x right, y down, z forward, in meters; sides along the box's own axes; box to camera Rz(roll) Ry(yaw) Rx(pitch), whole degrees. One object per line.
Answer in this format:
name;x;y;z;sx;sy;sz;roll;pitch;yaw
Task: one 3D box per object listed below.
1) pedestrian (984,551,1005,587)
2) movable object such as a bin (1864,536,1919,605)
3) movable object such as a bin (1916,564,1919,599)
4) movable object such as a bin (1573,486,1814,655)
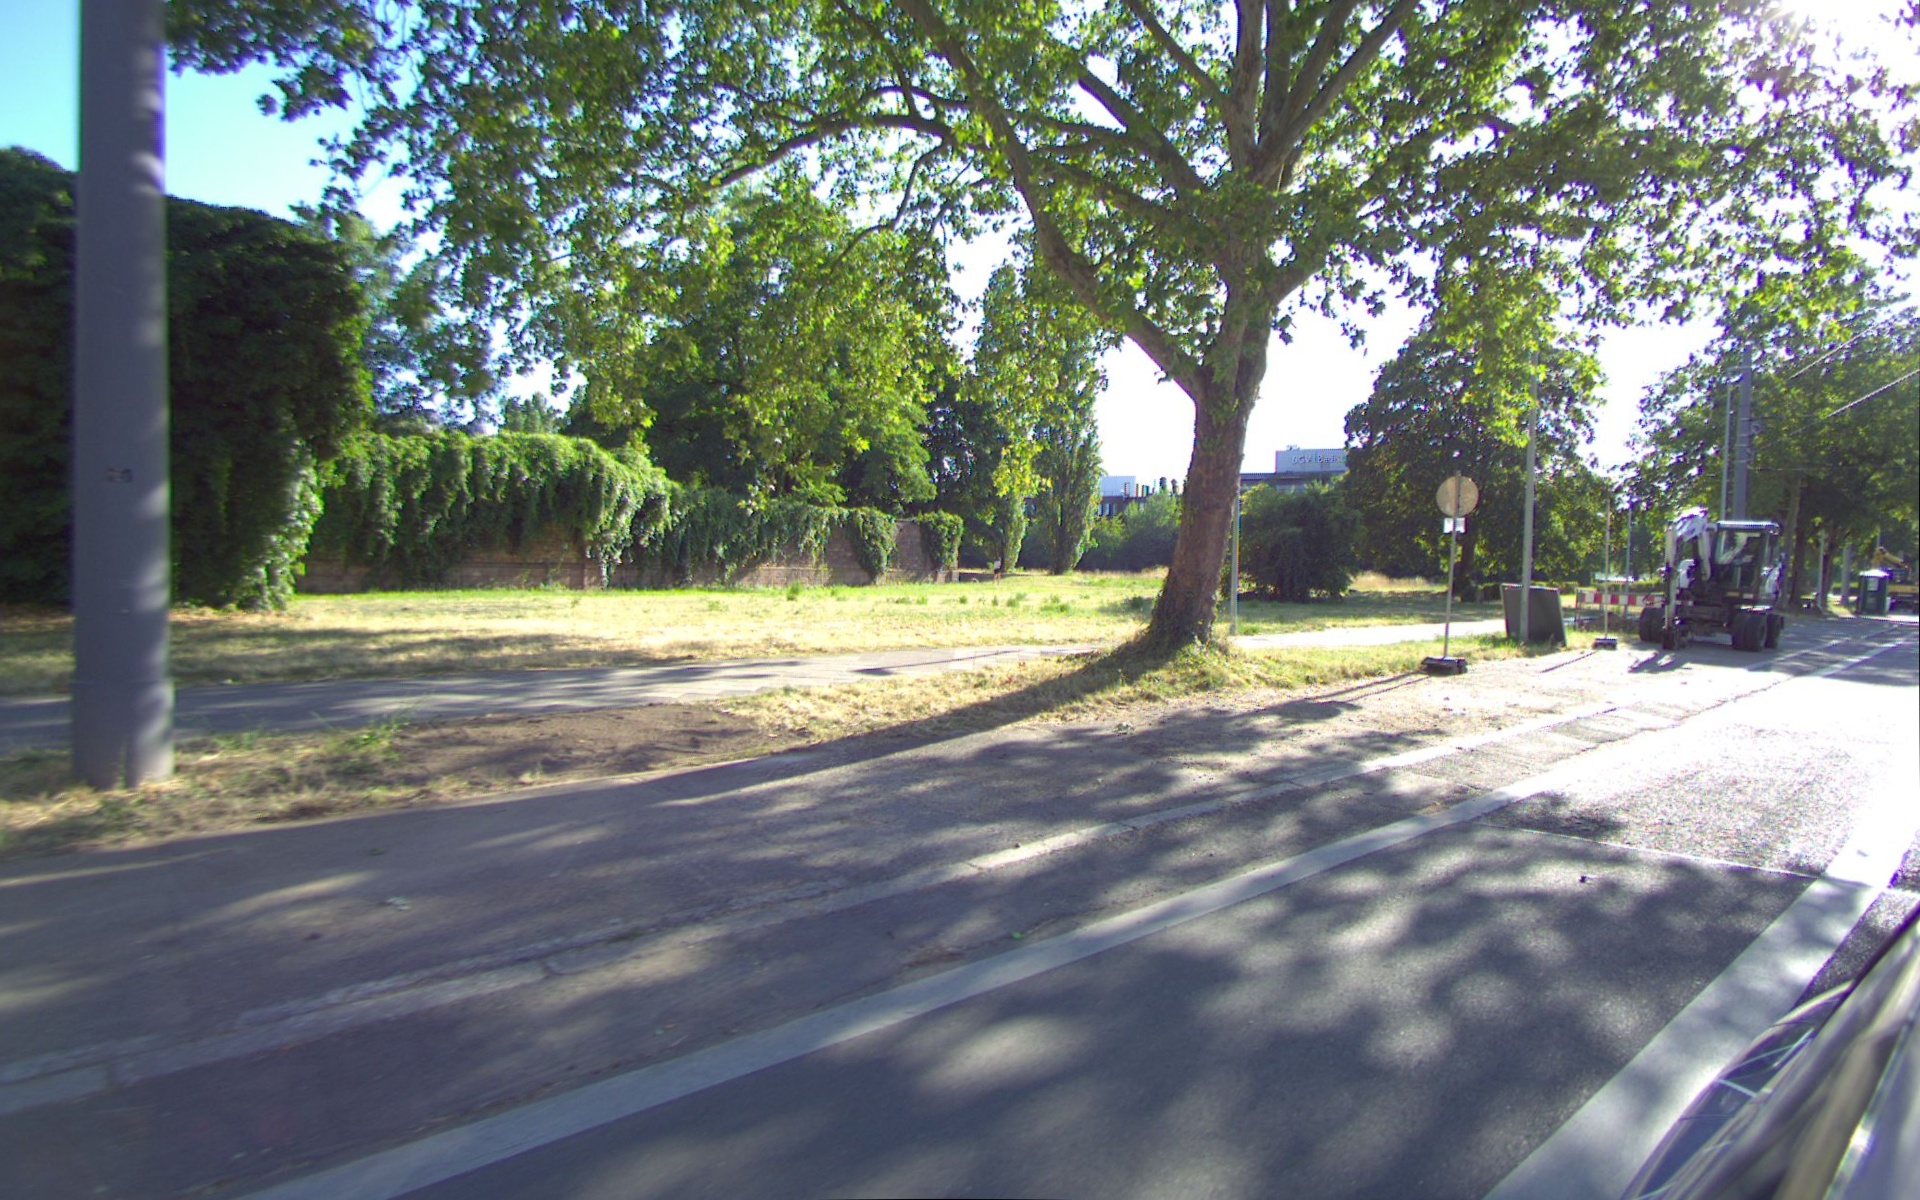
pedestrian;1.959;-1.747;57.354;0.854;2.039;1.263;-1;1;16
movable object such as a bin;58.975;-1.811;62.995;7.476;4.023;3.342;-1;6;-45
movable object such as a bin;73.896;-2.334;75.690;7.476;4.665;2.918;-1;5;-45
movable object such as a bin;16.595;-0.696;22.689;7.095;3.182;2.750;0;6;-42
